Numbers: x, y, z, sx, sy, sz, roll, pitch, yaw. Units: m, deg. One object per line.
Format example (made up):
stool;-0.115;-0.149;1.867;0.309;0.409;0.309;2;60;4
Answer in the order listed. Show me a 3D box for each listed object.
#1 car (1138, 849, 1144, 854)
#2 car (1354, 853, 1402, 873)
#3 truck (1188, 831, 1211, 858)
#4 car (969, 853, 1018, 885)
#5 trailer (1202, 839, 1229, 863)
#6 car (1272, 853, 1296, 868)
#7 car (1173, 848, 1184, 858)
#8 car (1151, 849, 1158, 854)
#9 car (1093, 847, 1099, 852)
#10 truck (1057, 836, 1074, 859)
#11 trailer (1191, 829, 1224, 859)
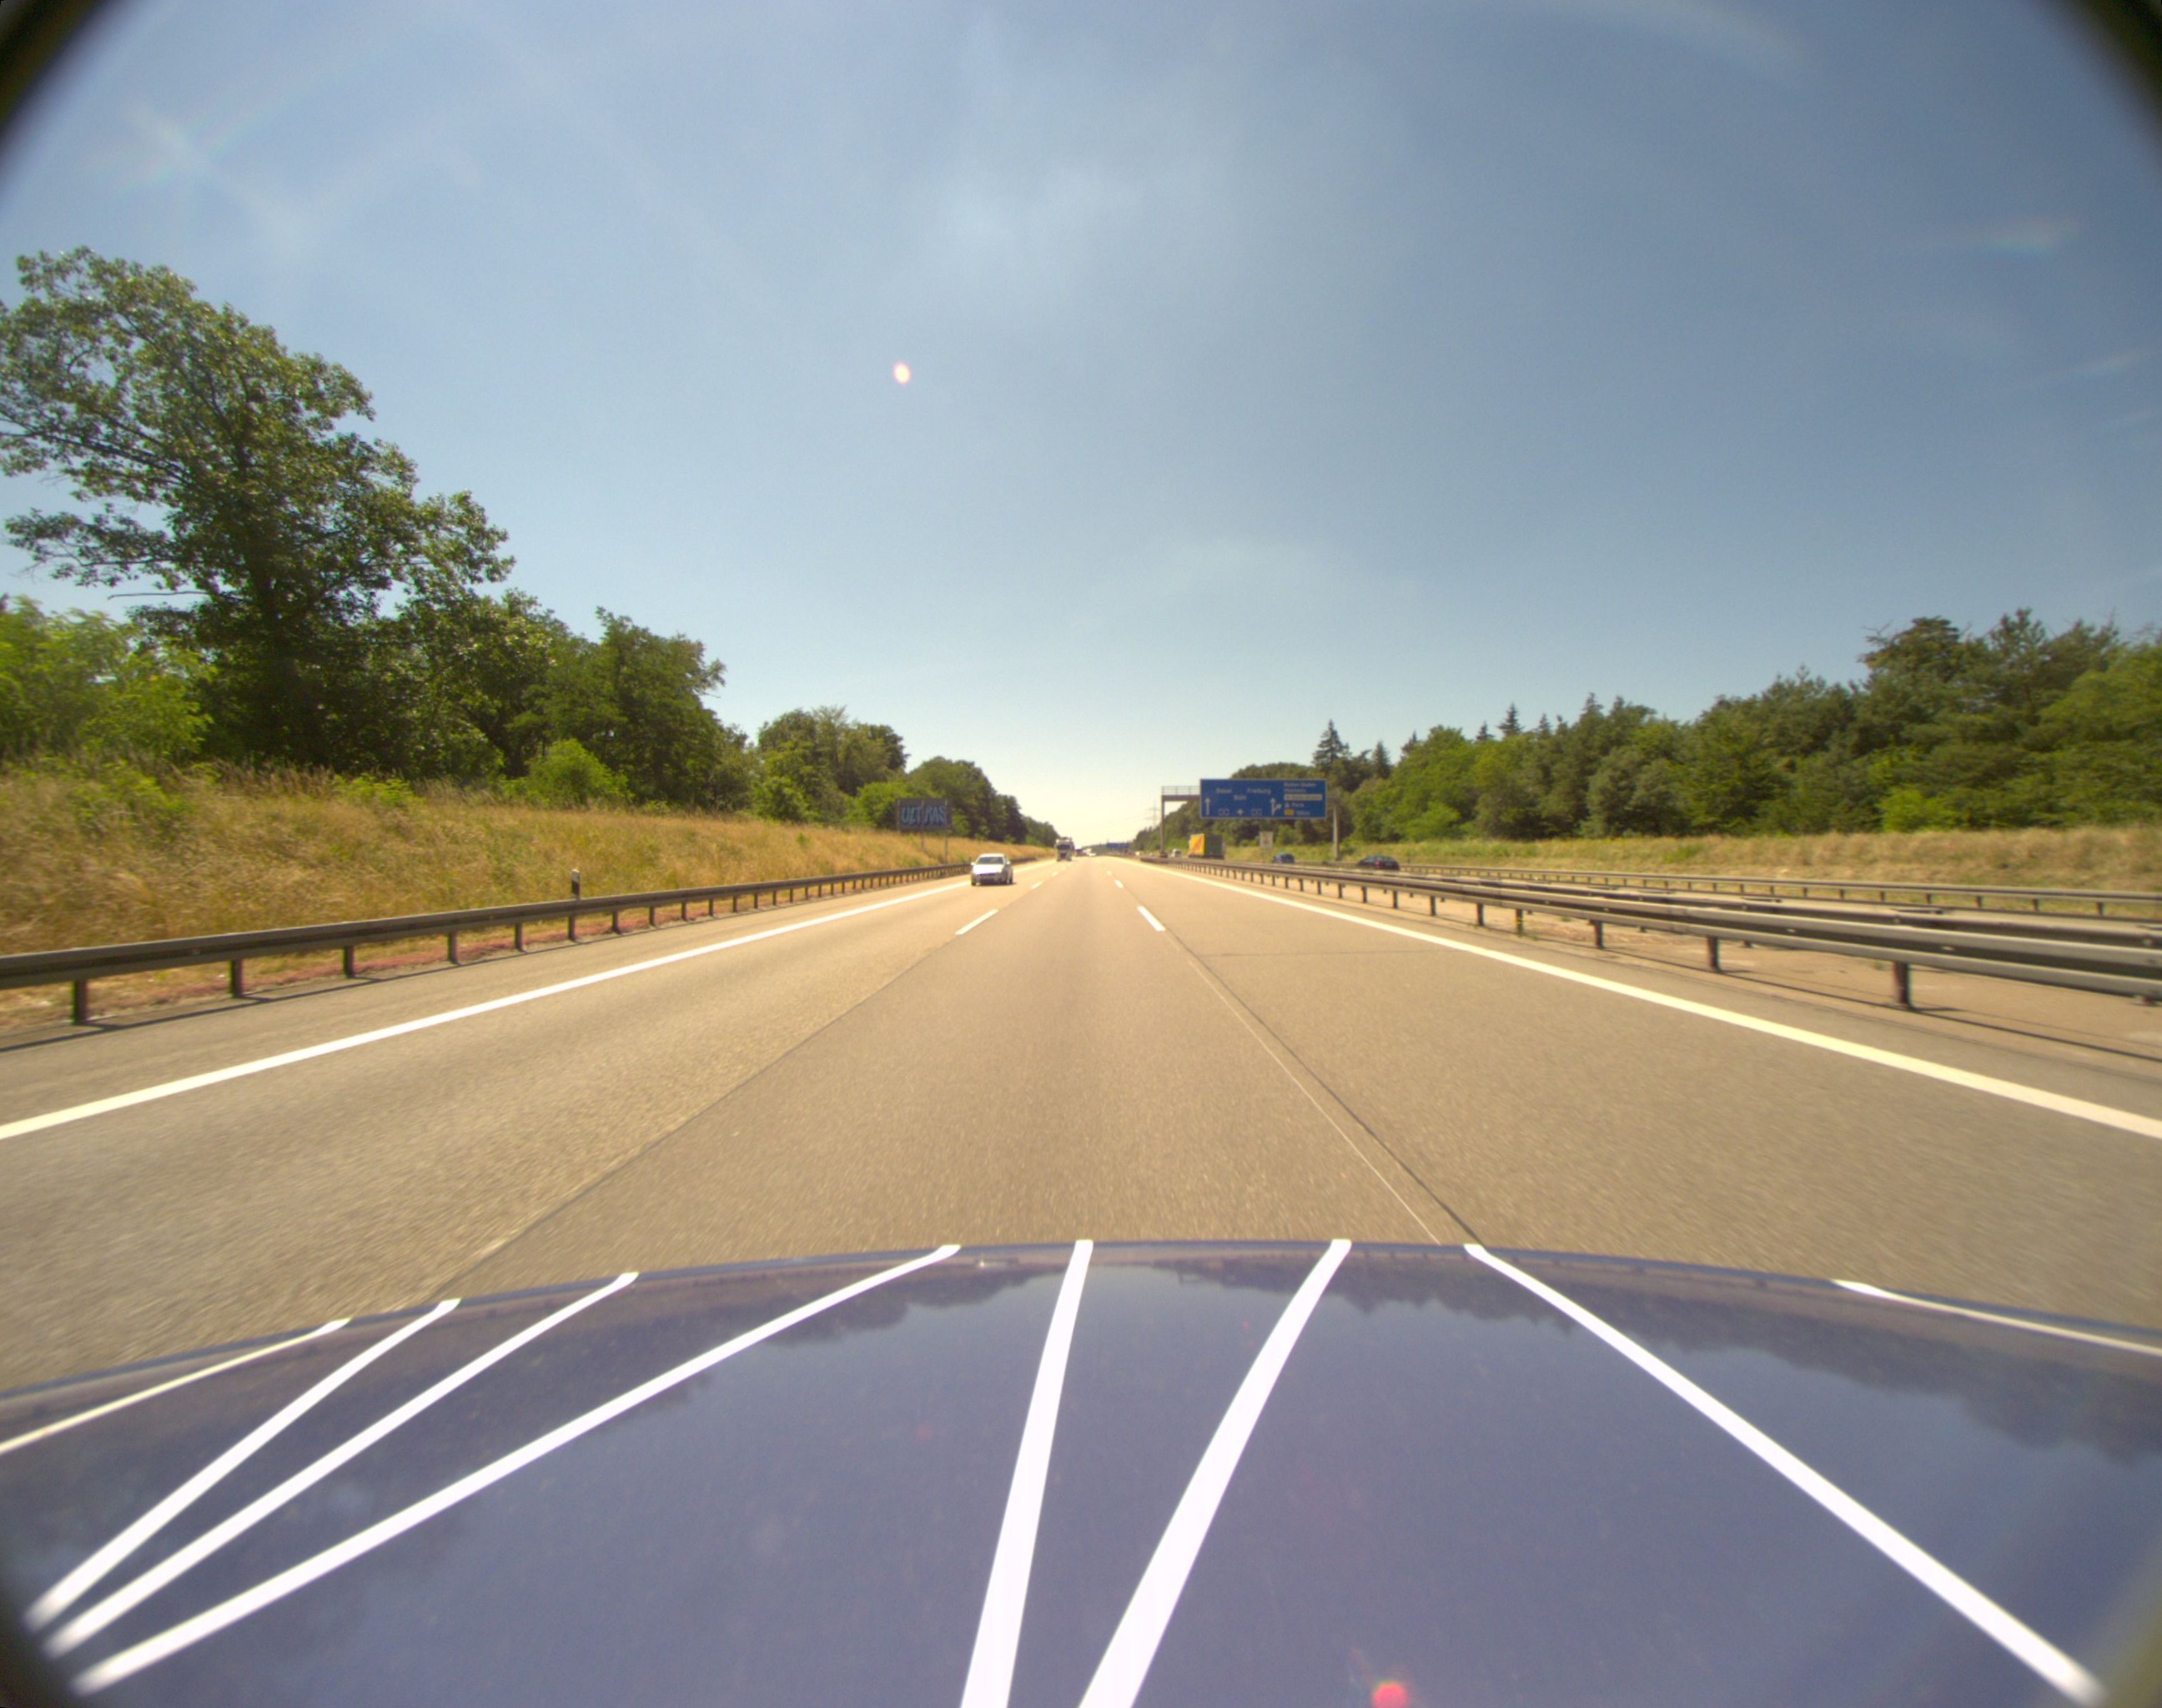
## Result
car;20.952;-0.795;265.923;1.650;1.490;4.560;3;0;0
car;21.922;0.637;56.290;1.679;1.357;4.889;3;0;1
truck;18.342;-1.425;117.708;2.470;4.049;6.287;3;0;1
car;-4.168;0.683;36.769;1.749;1.457;3.980;-1;0;1
trailer;23.050;-0.514;131.201;2.632;3.925;11.157;3;0;1
car;22.405;0.727;84.023;1.527;1.531;4.110;3;0;1
car;23.817;-0.164;185.616;1.992;2.327;5.809;3;0;0
car;25.053;-0.754;260.533;1.799;1.508;4.903;3;0;0
car;4.723;-1.374;241.008;1.796;1.412;3.999;-1;0;0
truck;-2.684;-1.151;133.142;2.605;3.811;5.969;-1;0;1
trailer;18.265;-1.383;110.758;2.470;4.049;14.278;3;0;1
